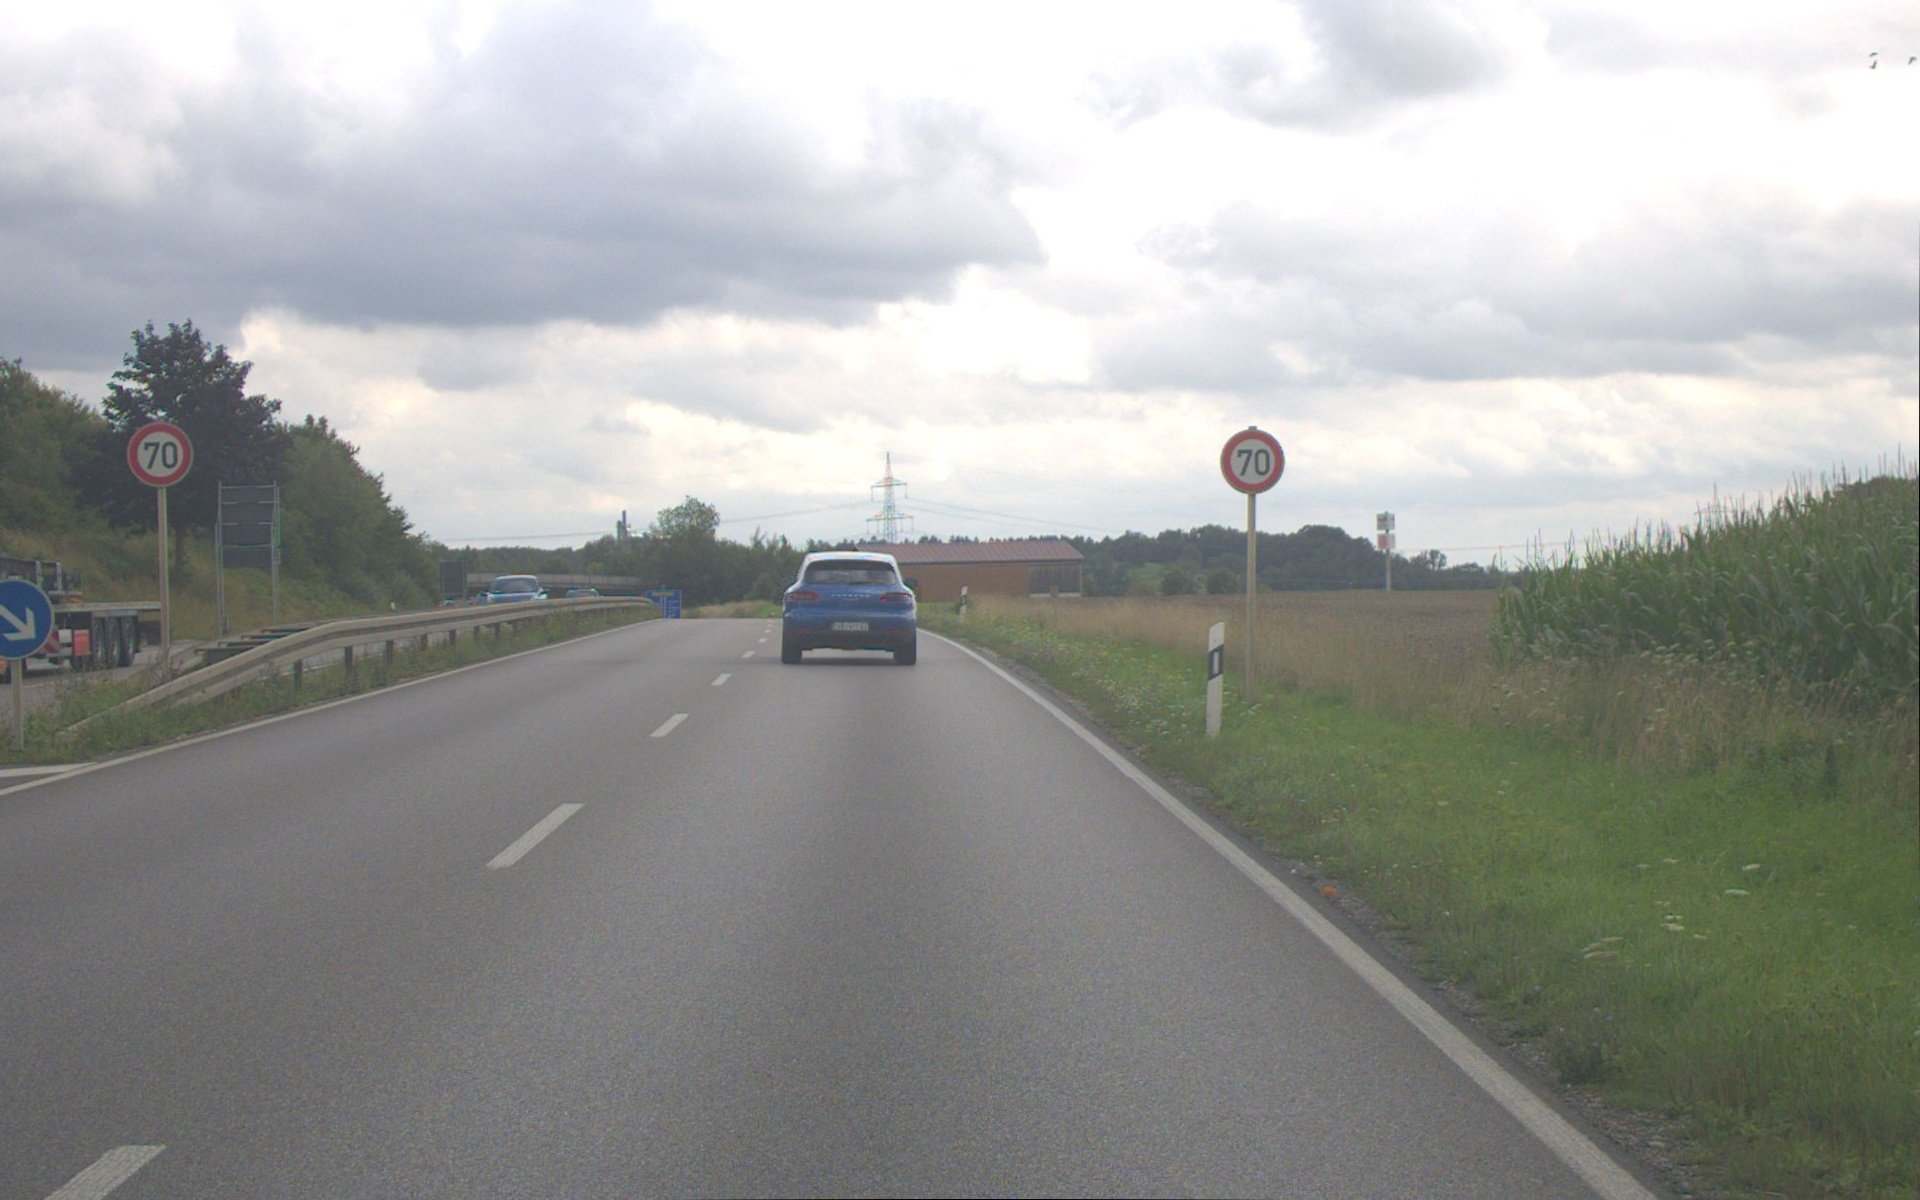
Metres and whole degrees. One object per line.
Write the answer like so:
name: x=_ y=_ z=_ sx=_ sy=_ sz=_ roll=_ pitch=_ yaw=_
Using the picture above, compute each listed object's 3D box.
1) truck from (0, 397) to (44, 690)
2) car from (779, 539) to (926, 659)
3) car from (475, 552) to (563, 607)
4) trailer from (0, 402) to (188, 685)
truck: x=-14.435 y=-0.743 z=46.484 sx=2.802 sy=3.983 sz=5.287 roll=-1 pitch=1 yaw=-2
car: x=-1.595 y=-0.035 z=50.251 sx=2.033 sy=1.655 sz=4.544 roll=0 pitch=1 yaw=-2
car: x=-12.887 y=-0.625 z=100.672 sx=2.086 sy=1.514 sz=4.193 roll=-1 pitch=1 yaw=-1
trailer: x=-14.772 y=-0.906 z=54.262 sx=2.775 sy=3.933 sz=12.987 roll=-1 pitch=1 yaw=-3
